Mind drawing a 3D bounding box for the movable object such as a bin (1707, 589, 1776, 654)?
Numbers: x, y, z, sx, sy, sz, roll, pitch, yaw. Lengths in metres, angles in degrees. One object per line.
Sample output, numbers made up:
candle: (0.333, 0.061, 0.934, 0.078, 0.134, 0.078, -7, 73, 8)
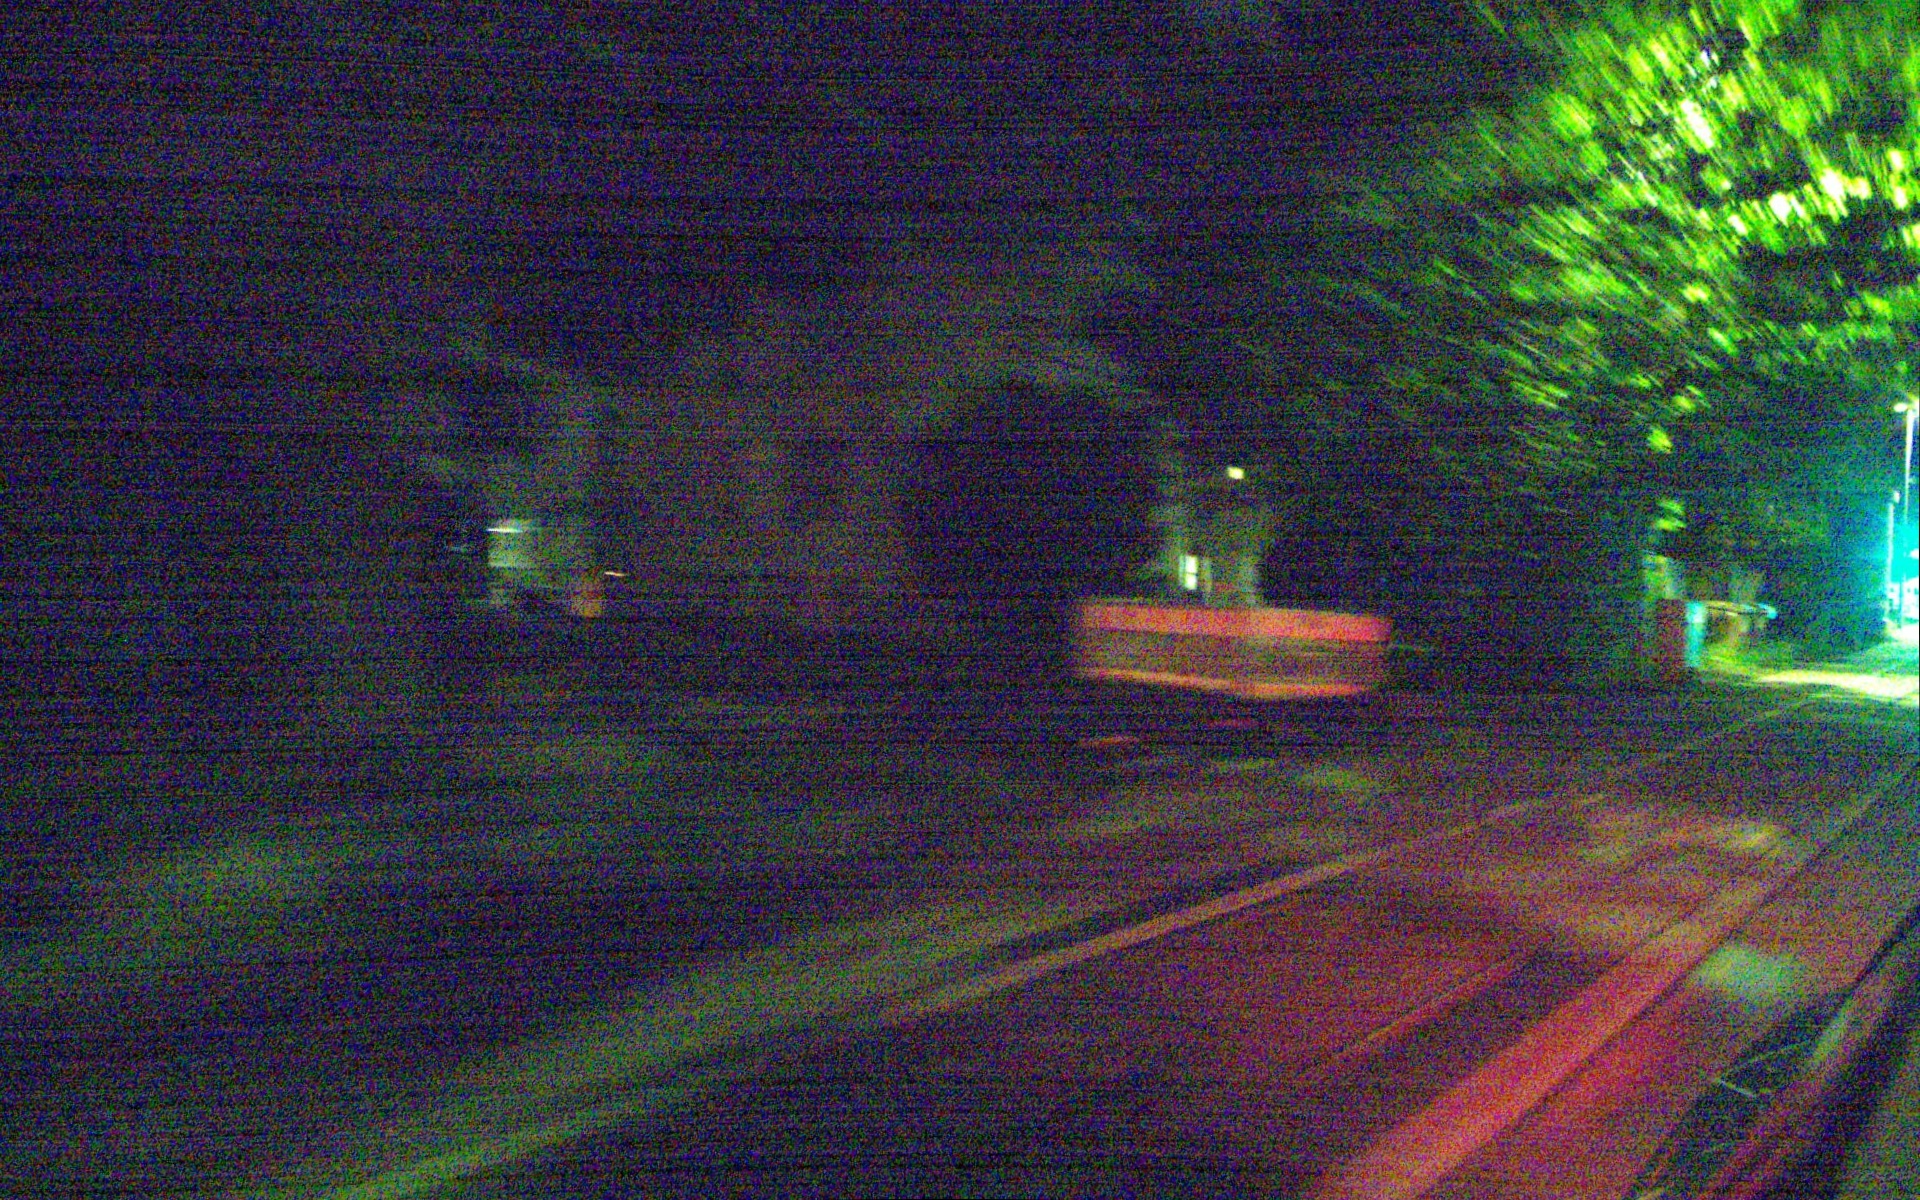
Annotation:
movable object such as a bin: (14.205, 0.382, 18.405, 0.876, 1.135, 0.726, 0, 1, -33)

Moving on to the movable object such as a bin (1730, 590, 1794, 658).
movable object such as a bin: (14.946, 0.431, 18.866, 0.706, 1.215, 0.727, 1, 1, -33)
